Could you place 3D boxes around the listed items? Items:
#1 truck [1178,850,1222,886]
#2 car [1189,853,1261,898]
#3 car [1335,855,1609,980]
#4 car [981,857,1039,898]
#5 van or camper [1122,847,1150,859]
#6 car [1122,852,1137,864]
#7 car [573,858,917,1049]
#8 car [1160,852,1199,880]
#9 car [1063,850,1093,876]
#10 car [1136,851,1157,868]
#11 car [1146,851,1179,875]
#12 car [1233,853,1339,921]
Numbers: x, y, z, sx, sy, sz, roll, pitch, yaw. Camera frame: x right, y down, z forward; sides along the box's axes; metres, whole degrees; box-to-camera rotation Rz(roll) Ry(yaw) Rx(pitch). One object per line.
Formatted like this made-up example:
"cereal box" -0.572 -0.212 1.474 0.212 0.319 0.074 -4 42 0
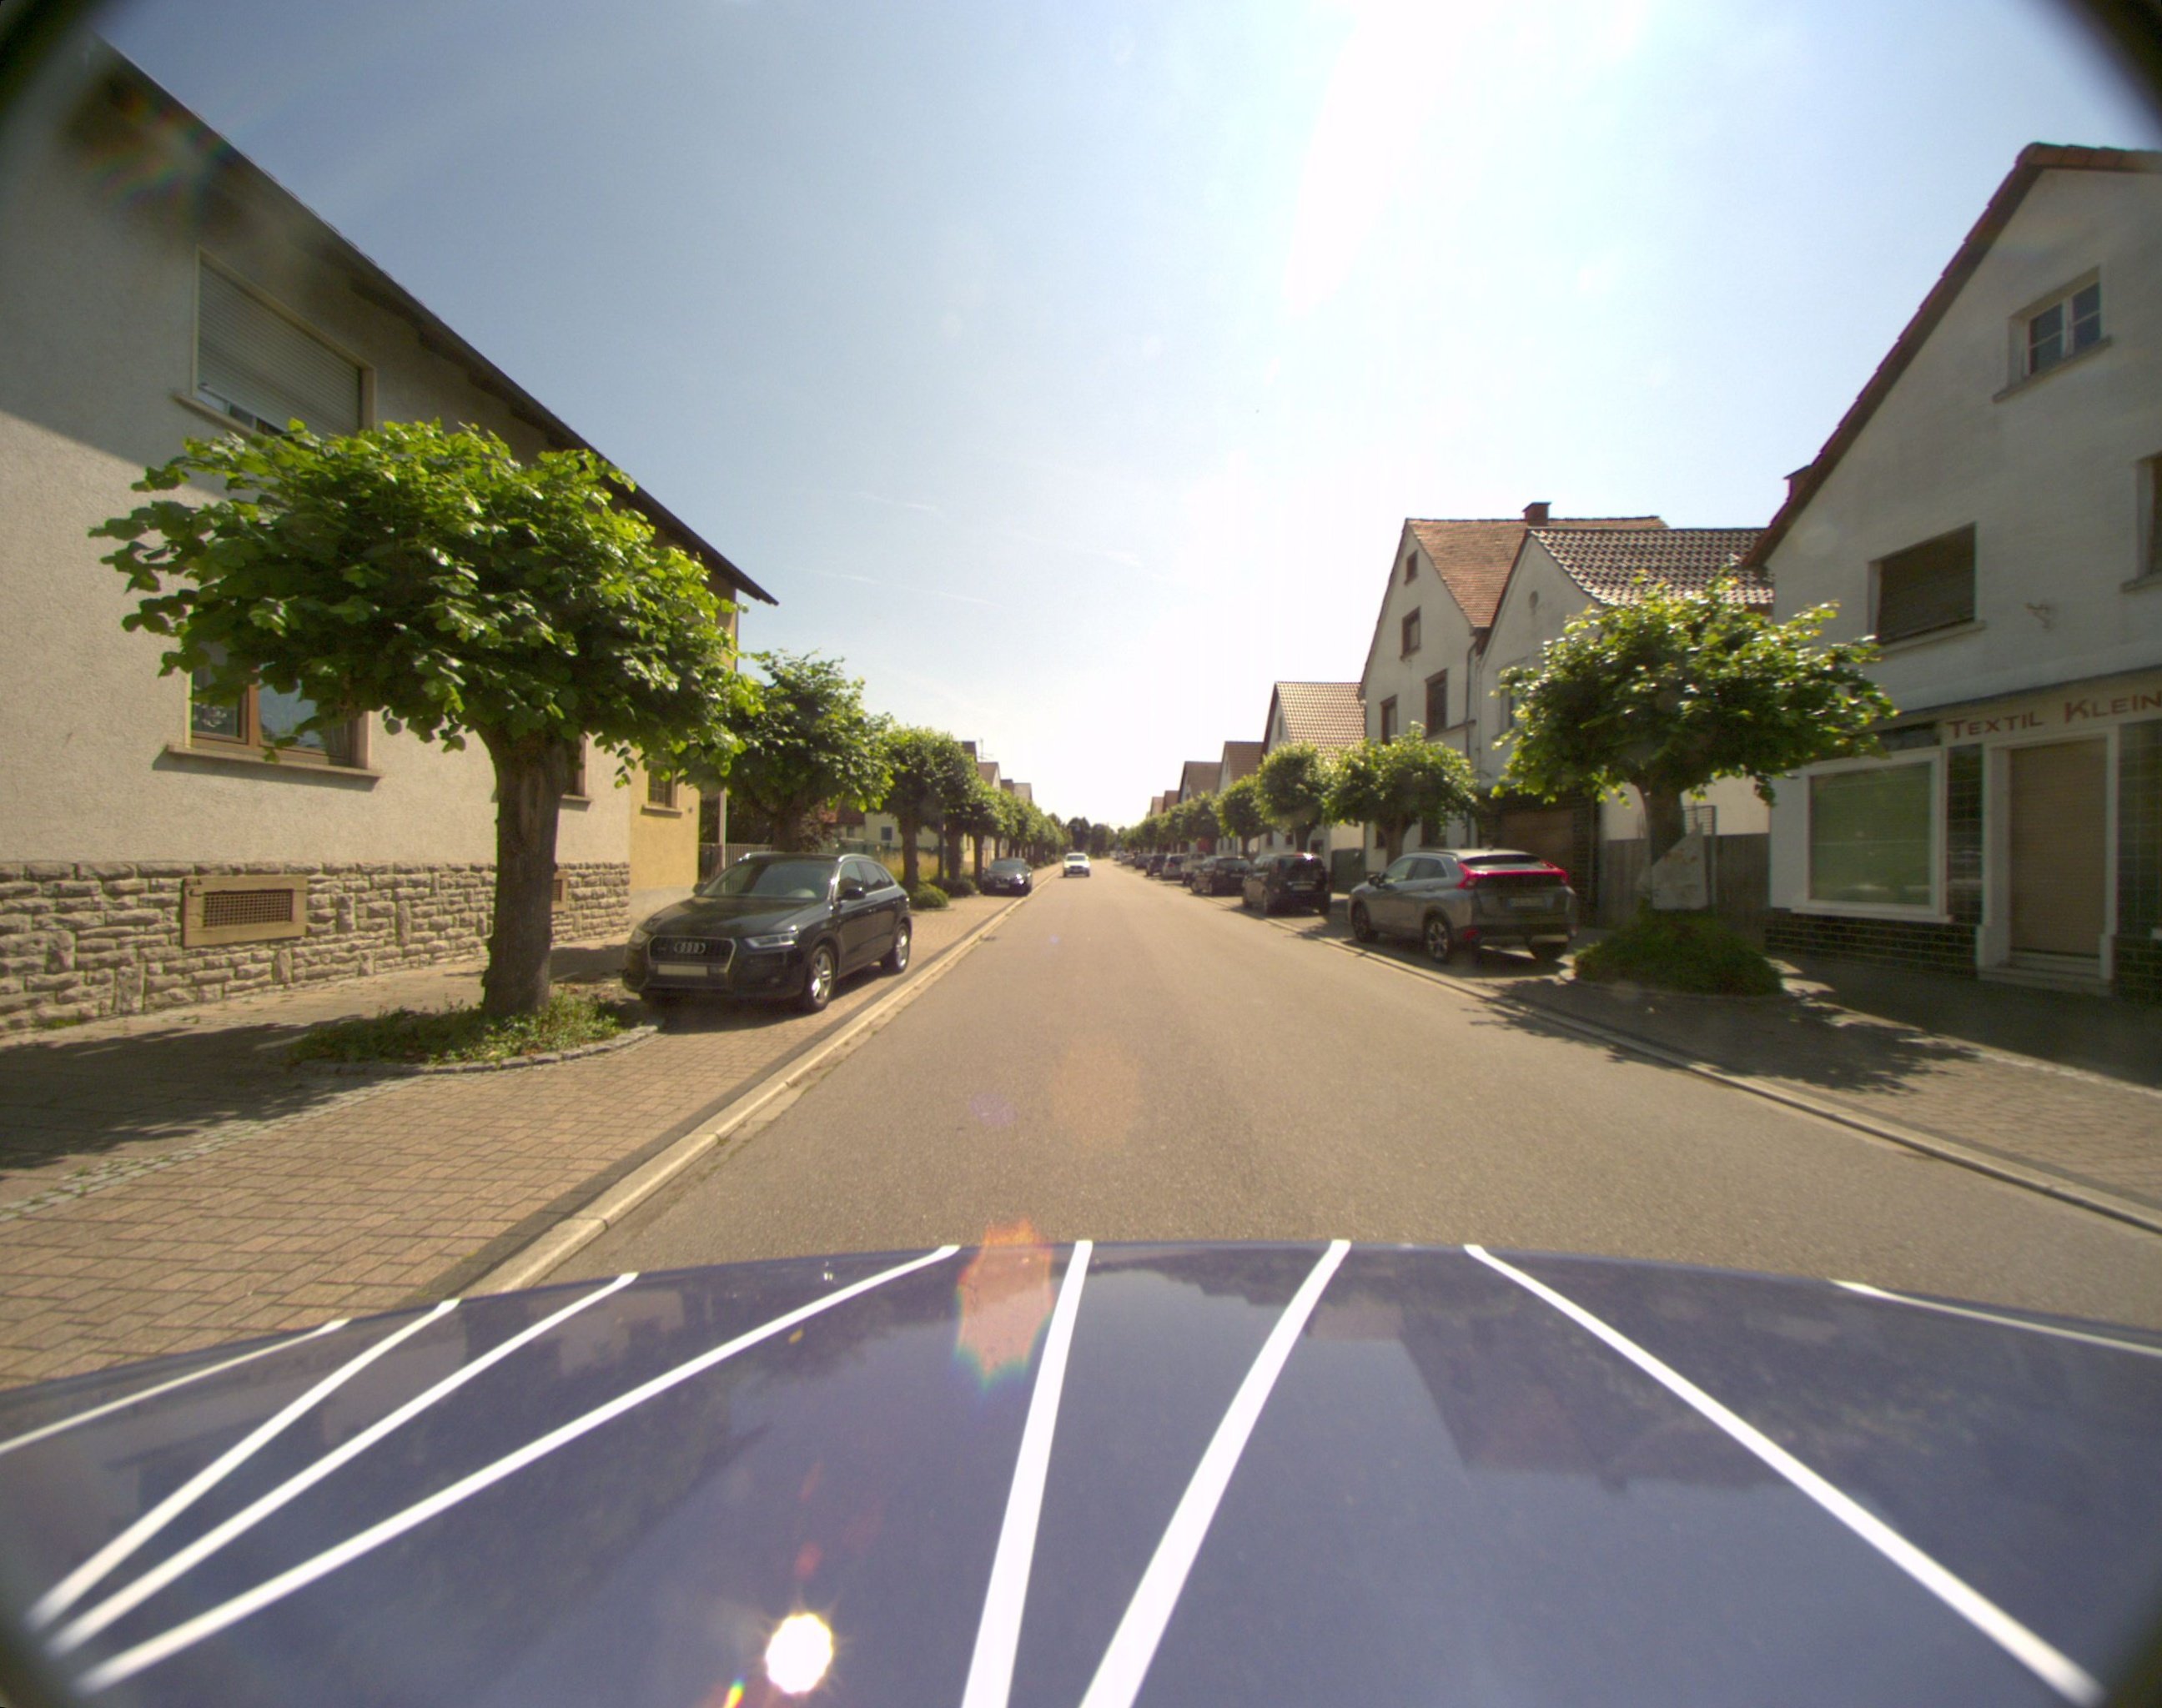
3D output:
"truck" 6.136 0.683 39.563 1.580 1.755 4.191 -2 1 0
"car" 5.679 0.803 30.424 1.791 1.624 3.998 -1 1 -5
"car" 5.946 0.840 12.292 1.999 1.643 4.366 0 0 -3
"car" -2.731 0.873 30.064 1.829 1.424 4.056 2 0 0
"van or camper" 9.563 -0.186 131.861 4.752 1.851 2.000 -2 0 -1
"car" 6.647 0.553 103.923 1.829 1.474 4.132 -2 1 1
"car" -3.351 0.866 8.590 1.828 1.576 4.058 2 0 4
"car" 6.103 0.694 47.625 1.857 1.604 4.370 -2 1 0
"car" -0.141 0.594 52.160 1.857 1.603 4.135 -2 0 2
"car" 6.506 0.549 75.671 1.857 1.603 4.135 -2 0 2
"car" 5.837 0.658 54.913 1.857 1.626 4.299 -2 0 0
"car" 5.622 0.844 21.354 1.857 1.626 4.056 -1 1 0
